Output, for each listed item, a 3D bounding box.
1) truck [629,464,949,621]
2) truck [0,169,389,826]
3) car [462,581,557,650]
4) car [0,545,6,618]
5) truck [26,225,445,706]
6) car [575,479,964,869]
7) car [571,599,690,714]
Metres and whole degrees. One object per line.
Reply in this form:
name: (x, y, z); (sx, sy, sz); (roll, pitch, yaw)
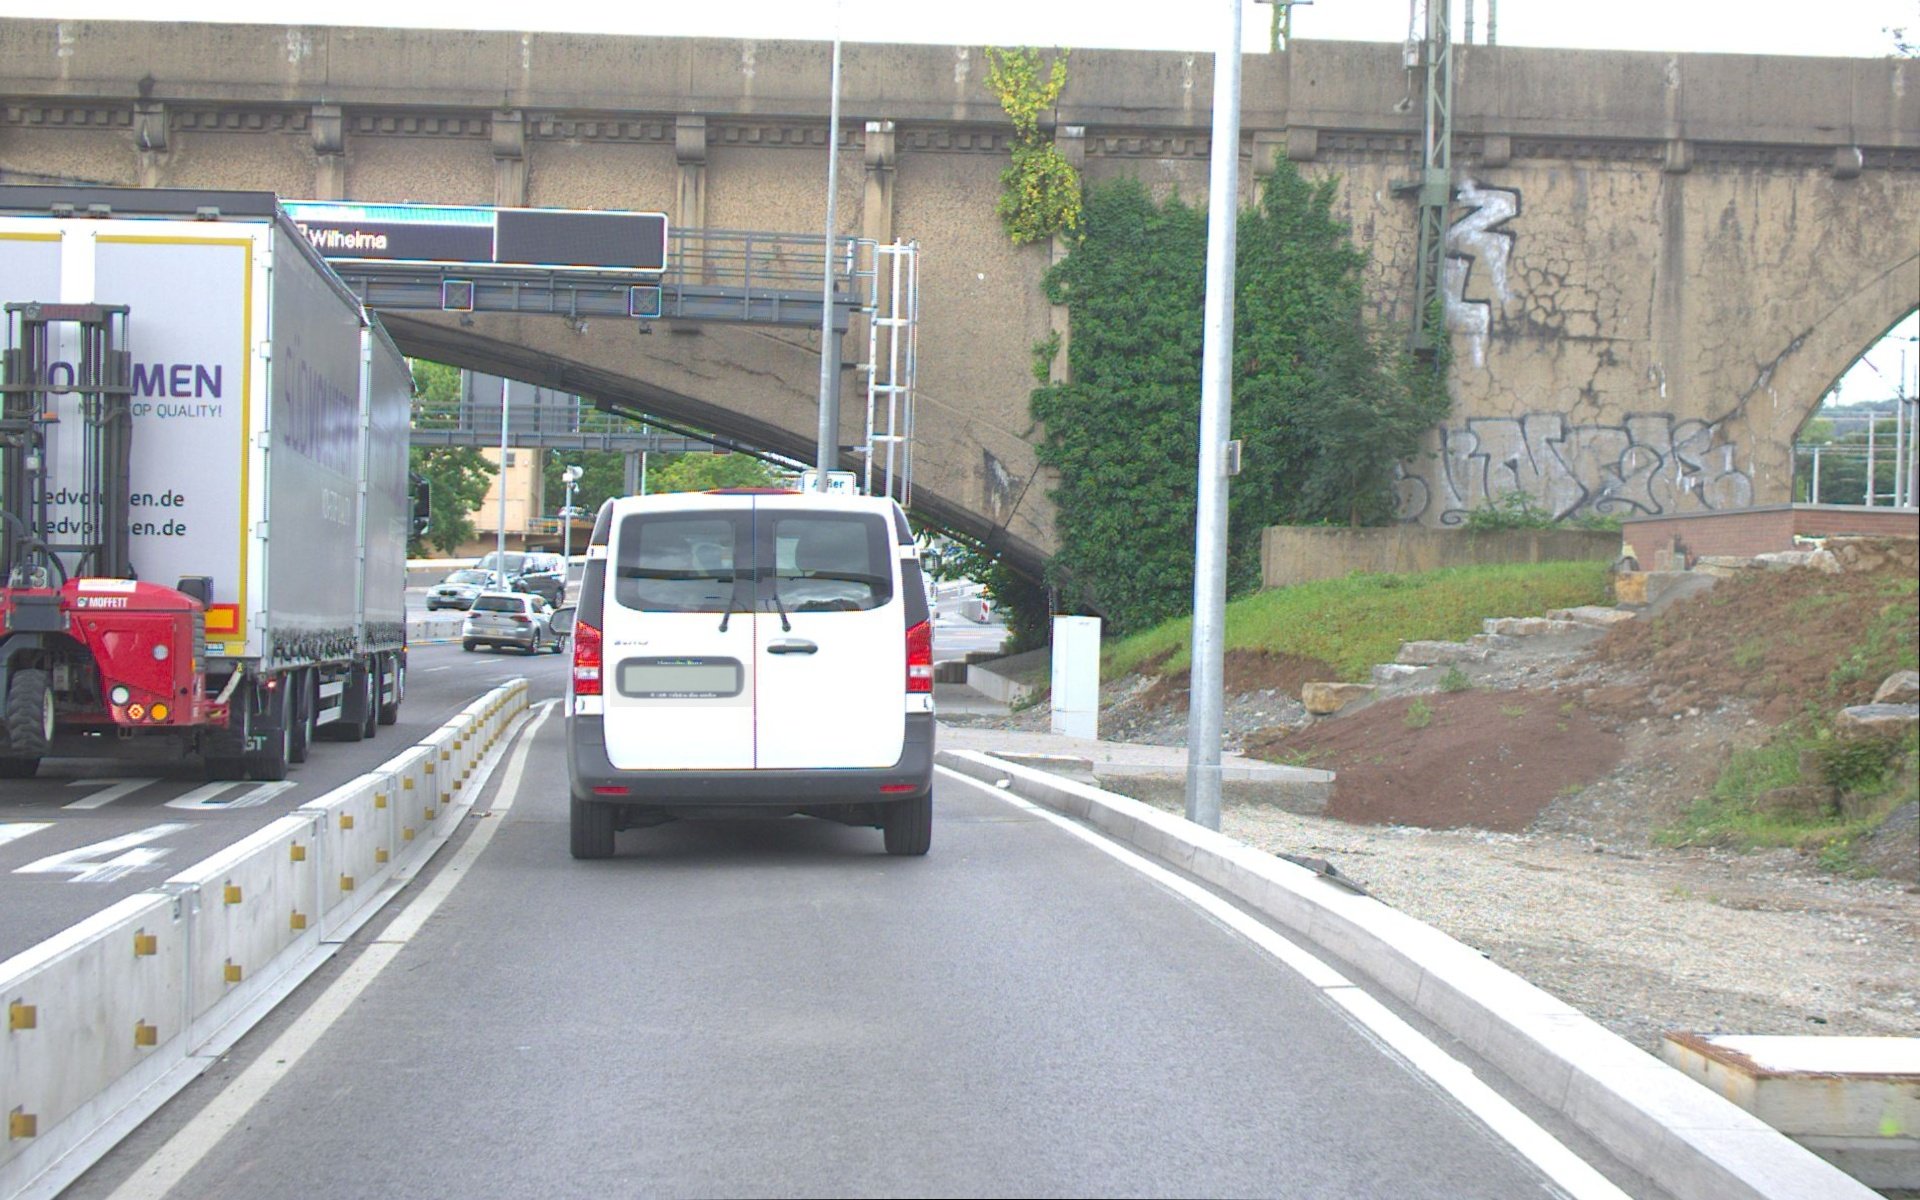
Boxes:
truck: (-4.418, -1.438, 95.803); (3.320, 3.796, 16.579); (4, 1, 17)
truck: (-6.300, -0.720, 26.357); (2.917, 4.003, 10.202); (3, 0, -5)
car: (-10.837, 0.349, 82.874); (1.757, 1.546, 4.000); (2, 1, 0)
car: (-22.044, -0.370, 74.617); (1.705, 1.615, 4.453); (-1, 1, -4)
truck: (-7.310, -1.262, 36.328); (2.987, 4.162, 11.243); (3, 0, -6)
car: (-1.133, 0.365, 19.145); (1.876, 1.884, 4.754); (1, 0, -5)
car: (-4.458, 0.791, 46.825); (1.500, 1.464, 3.399); (2, -2, -4)
